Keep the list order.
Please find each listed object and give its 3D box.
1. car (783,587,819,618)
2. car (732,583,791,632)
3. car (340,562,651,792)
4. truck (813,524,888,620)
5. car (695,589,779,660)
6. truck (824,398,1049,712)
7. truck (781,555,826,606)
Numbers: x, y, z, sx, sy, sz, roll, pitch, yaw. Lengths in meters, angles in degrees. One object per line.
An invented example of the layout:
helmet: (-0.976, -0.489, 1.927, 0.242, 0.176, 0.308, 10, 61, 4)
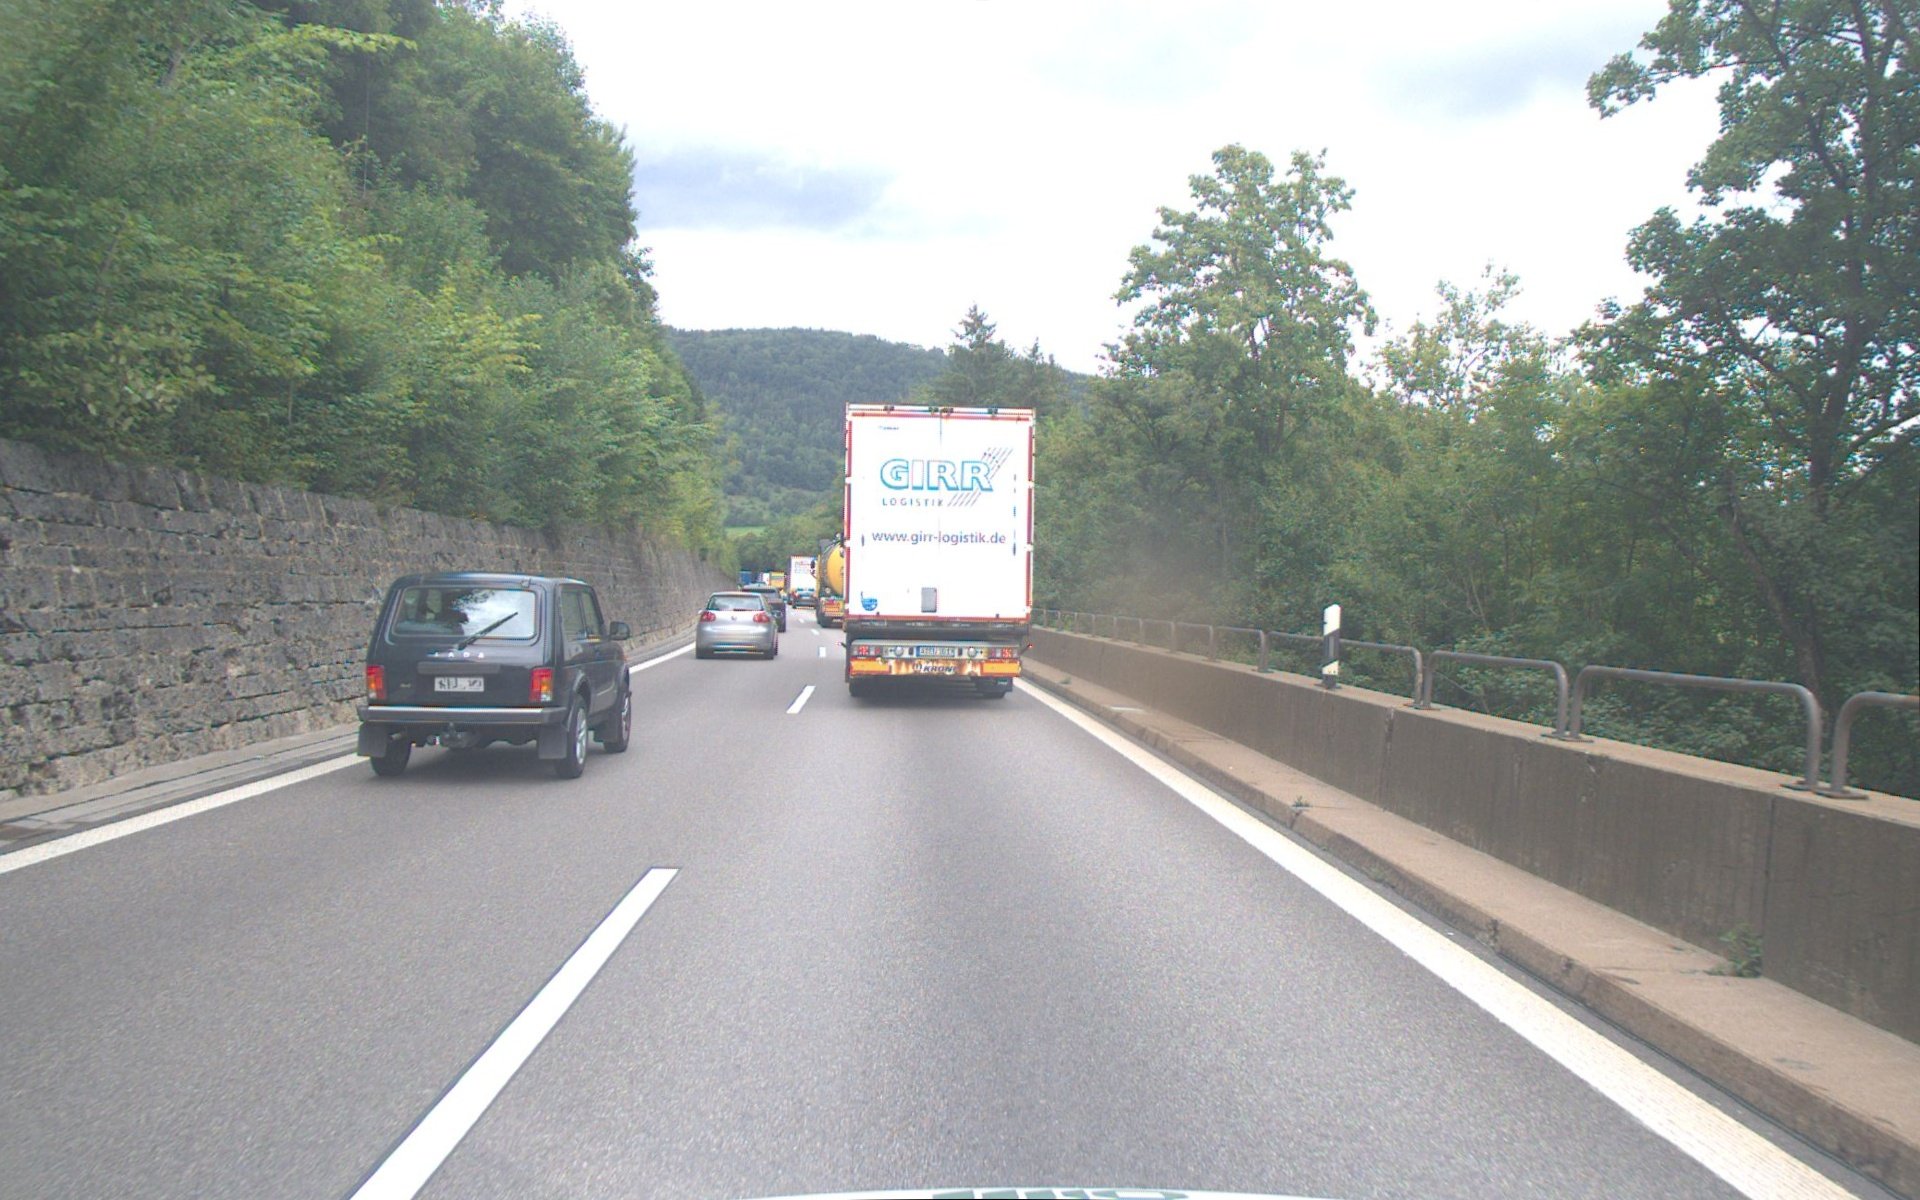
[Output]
car: (-10.886, 0.175, 113.535, 1.952, 2.049, 4.000, 2, -1, 1)
car: (-7.018, 0.263, 58.836, 1.879, 1.623, 4.175, 1, 0, -5)
car: (-3.795, 0.575, 14.215, 1.635, 1.667, 4.066, 1, 0, -2)
truck: (-4.595, -1.061, 68.145, 2.439, 3.634, 9.292, 1, 0, -7)
car: (-5.036, 0.531, 37.692, 1.695, 1.512, 3.995, 1, 0, -5)
truck: (-0.489, -0.584, 26.175, 2.850, 4.030, 9.274, 1, 0, -2)
truck: (-13.054, -1.552, 138.904, 3.442, 3.914, 11.764, 2, -1, -5)
